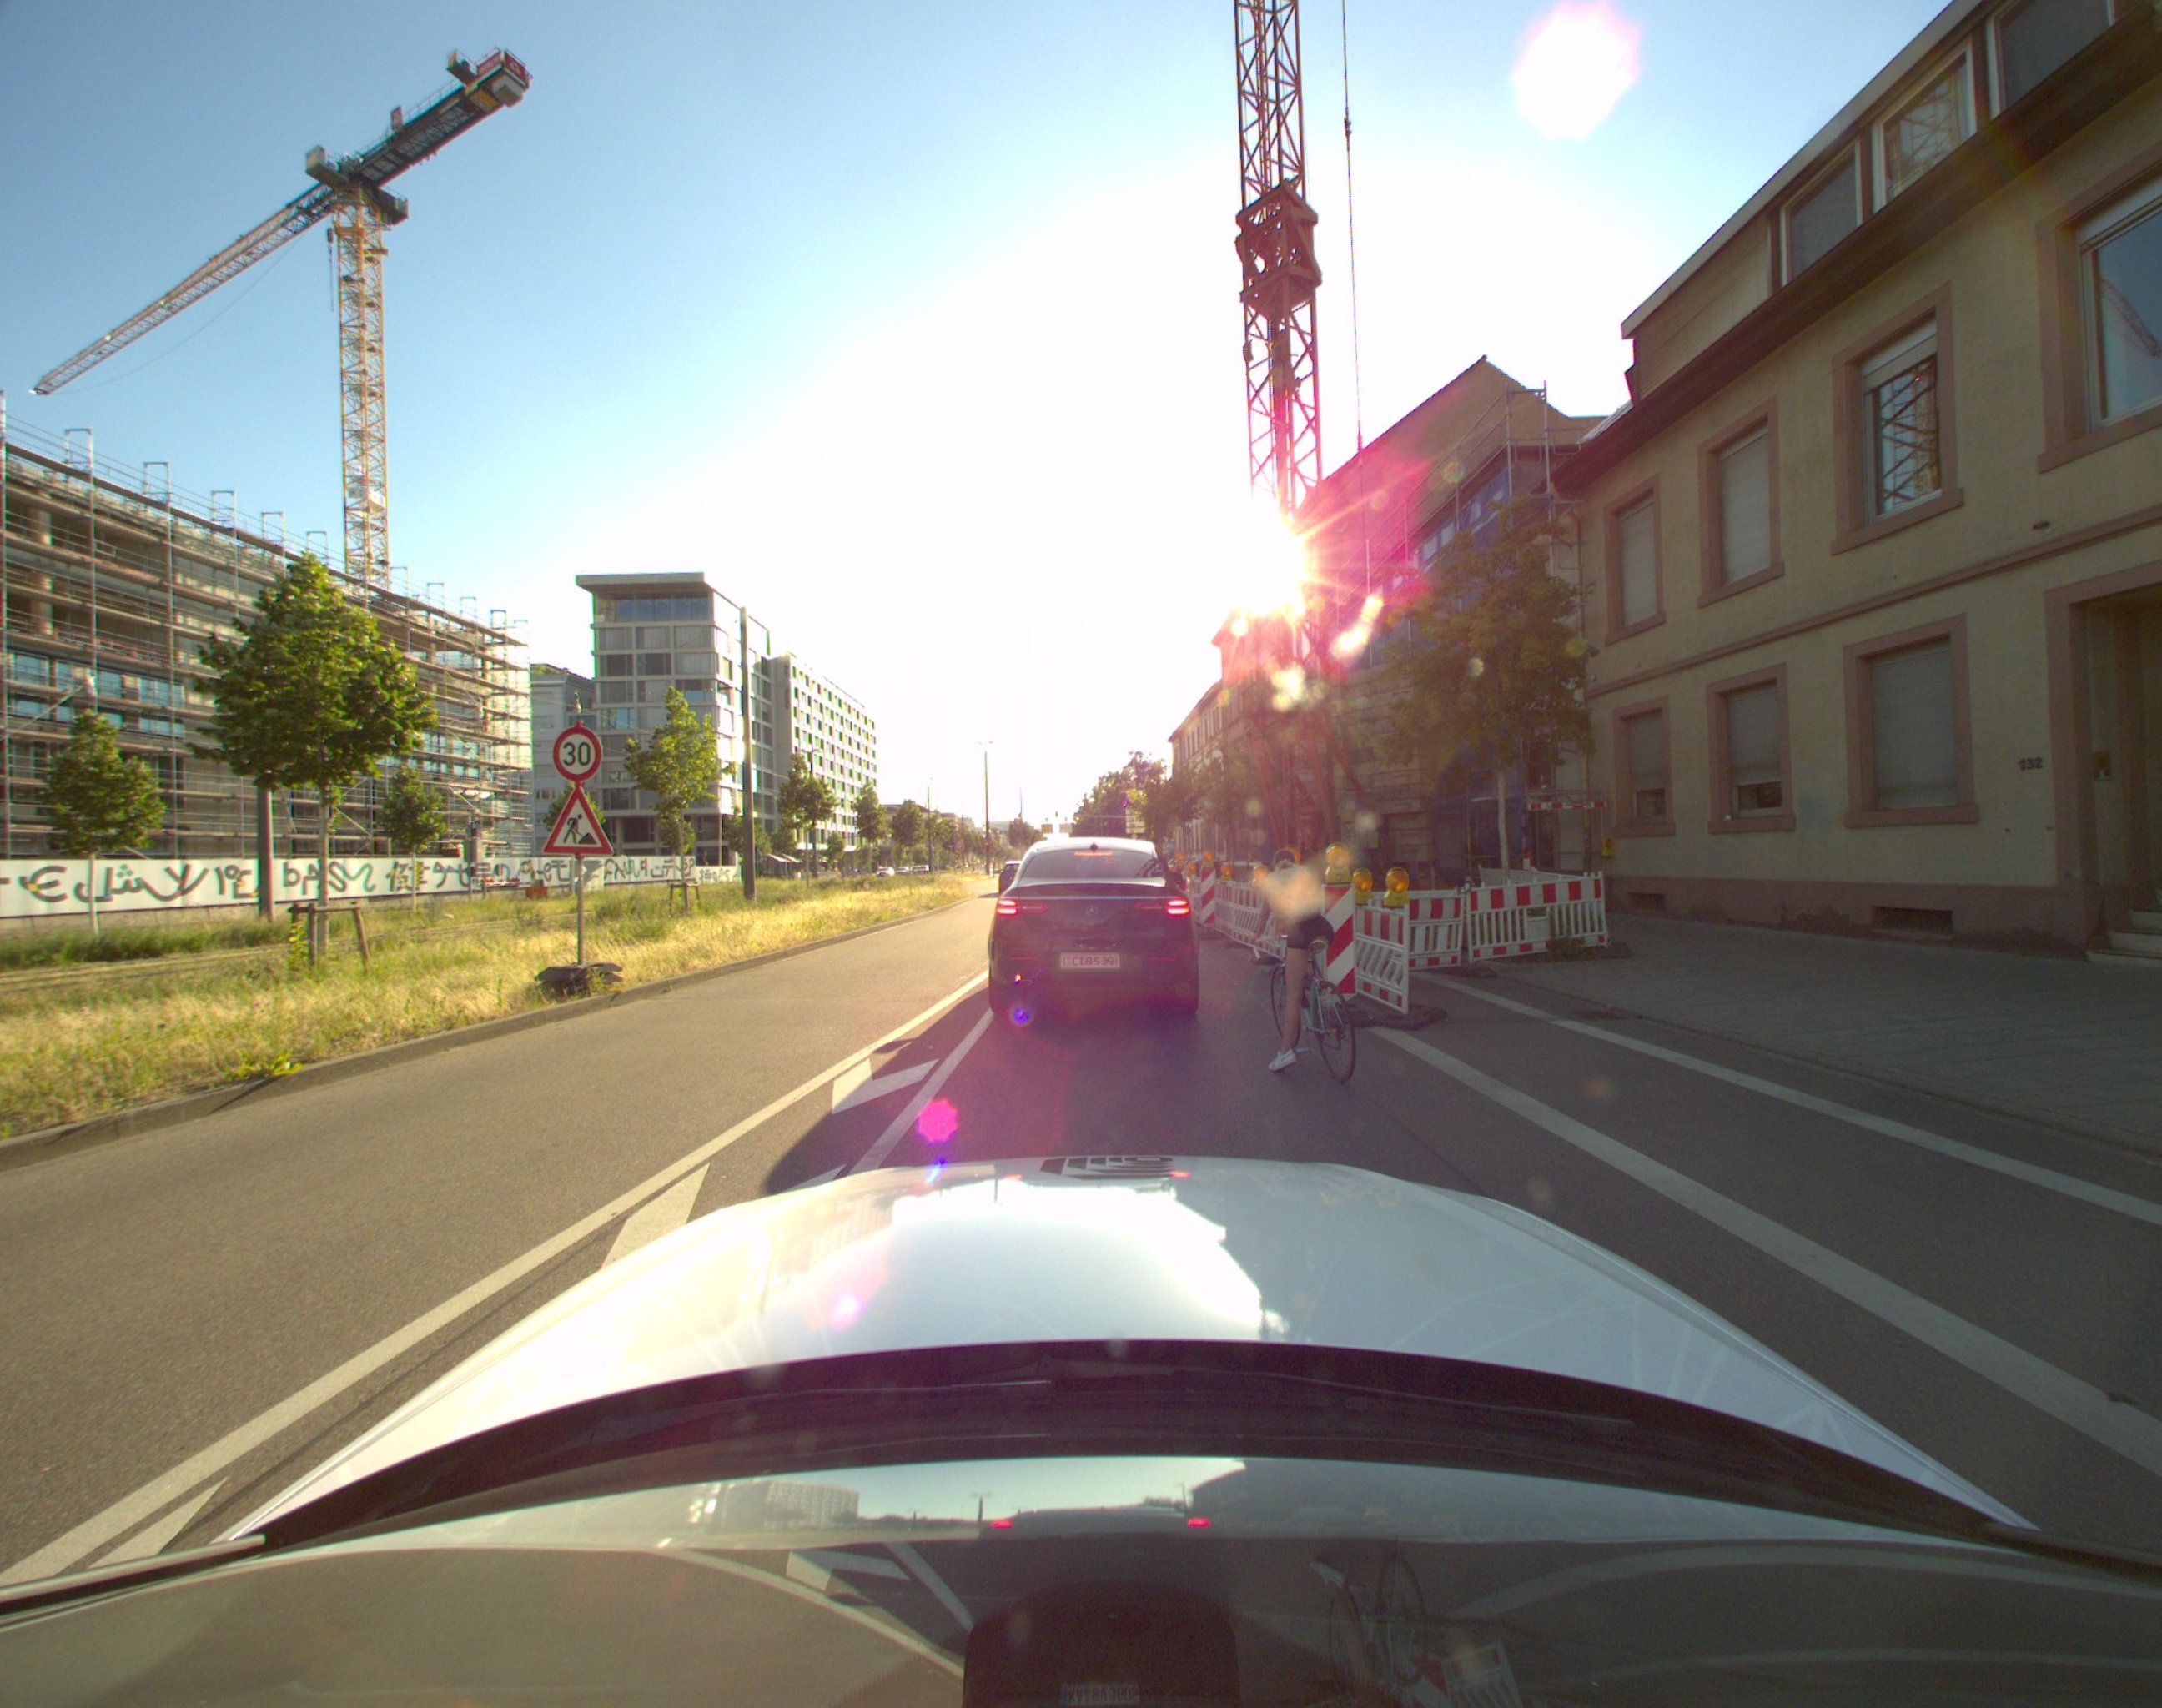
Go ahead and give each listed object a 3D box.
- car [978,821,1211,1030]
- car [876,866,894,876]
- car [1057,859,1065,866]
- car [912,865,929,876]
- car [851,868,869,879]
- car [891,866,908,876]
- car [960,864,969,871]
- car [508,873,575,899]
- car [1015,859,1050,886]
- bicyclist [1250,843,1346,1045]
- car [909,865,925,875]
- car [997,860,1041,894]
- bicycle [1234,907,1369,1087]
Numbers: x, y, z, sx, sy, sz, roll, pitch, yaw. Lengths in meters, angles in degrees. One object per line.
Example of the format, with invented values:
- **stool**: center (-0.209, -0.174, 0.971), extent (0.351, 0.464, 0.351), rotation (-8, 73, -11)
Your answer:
- **car**: center (0.178, 0.628, 8.967), extent (1.986, 1.772, 4.001), rotation (0, -1, 2)
- **car**: center (-27.970, 2.391, 116.220), extent (1.703, 1.442, 3.581), rotation (0, -1, 0)
- **car**: center (-4.542, 1.917, 184.187), extent (1.703, 1.442, 3.581), rotation (0, -1, 0)
- **car**: center (-22.724, 2.347, 115.573), extent (1.703, 1.442, 3.581), rotation (0, -1, 0)
- **car**: center (-32.183, 2.823, 118.528), extent (1.703, 1.442, 3.581), rotation (0, -1, 0)
- **car**: center (-27.961, 2.600, 125.616), extent (1.703, 1.442, 3.581), rotation (0, -1, 0)
- **car**: center (-27.323, 3.123, 190.860), extent (1.703, 1.442, 3.581), rotation (0, -1, 0)
- **car**: center (-32.558, 1.883, 49.272), extent (1.703, 1.442, 3.581), rotation (0, -1, 0)
- **car**: center (-2.637, 0.989, 45.149), extent (1.703, 1.442, 3.581), rotation (0, -1, 0)
- **bicyclist**: center (1.576, 0.628, 5.988), extent (0.521, 1.395, 0.614), rotation (0, -1, -1)
- **car**: center (-24.847, 2.424, 123.220), extent (1.703, 1.442, 3.581), rotation (0, -1, 0)
- **car**: center (-2.746, 0.999, 36.717), extent (1.703, 1.442, 3.581), rotation (0, -1, 0)
- **bicycle**: center (1.581, 0.973, 6.101), extent (0.511, 1.052, 1.724), rotation (0, -1, -1)
